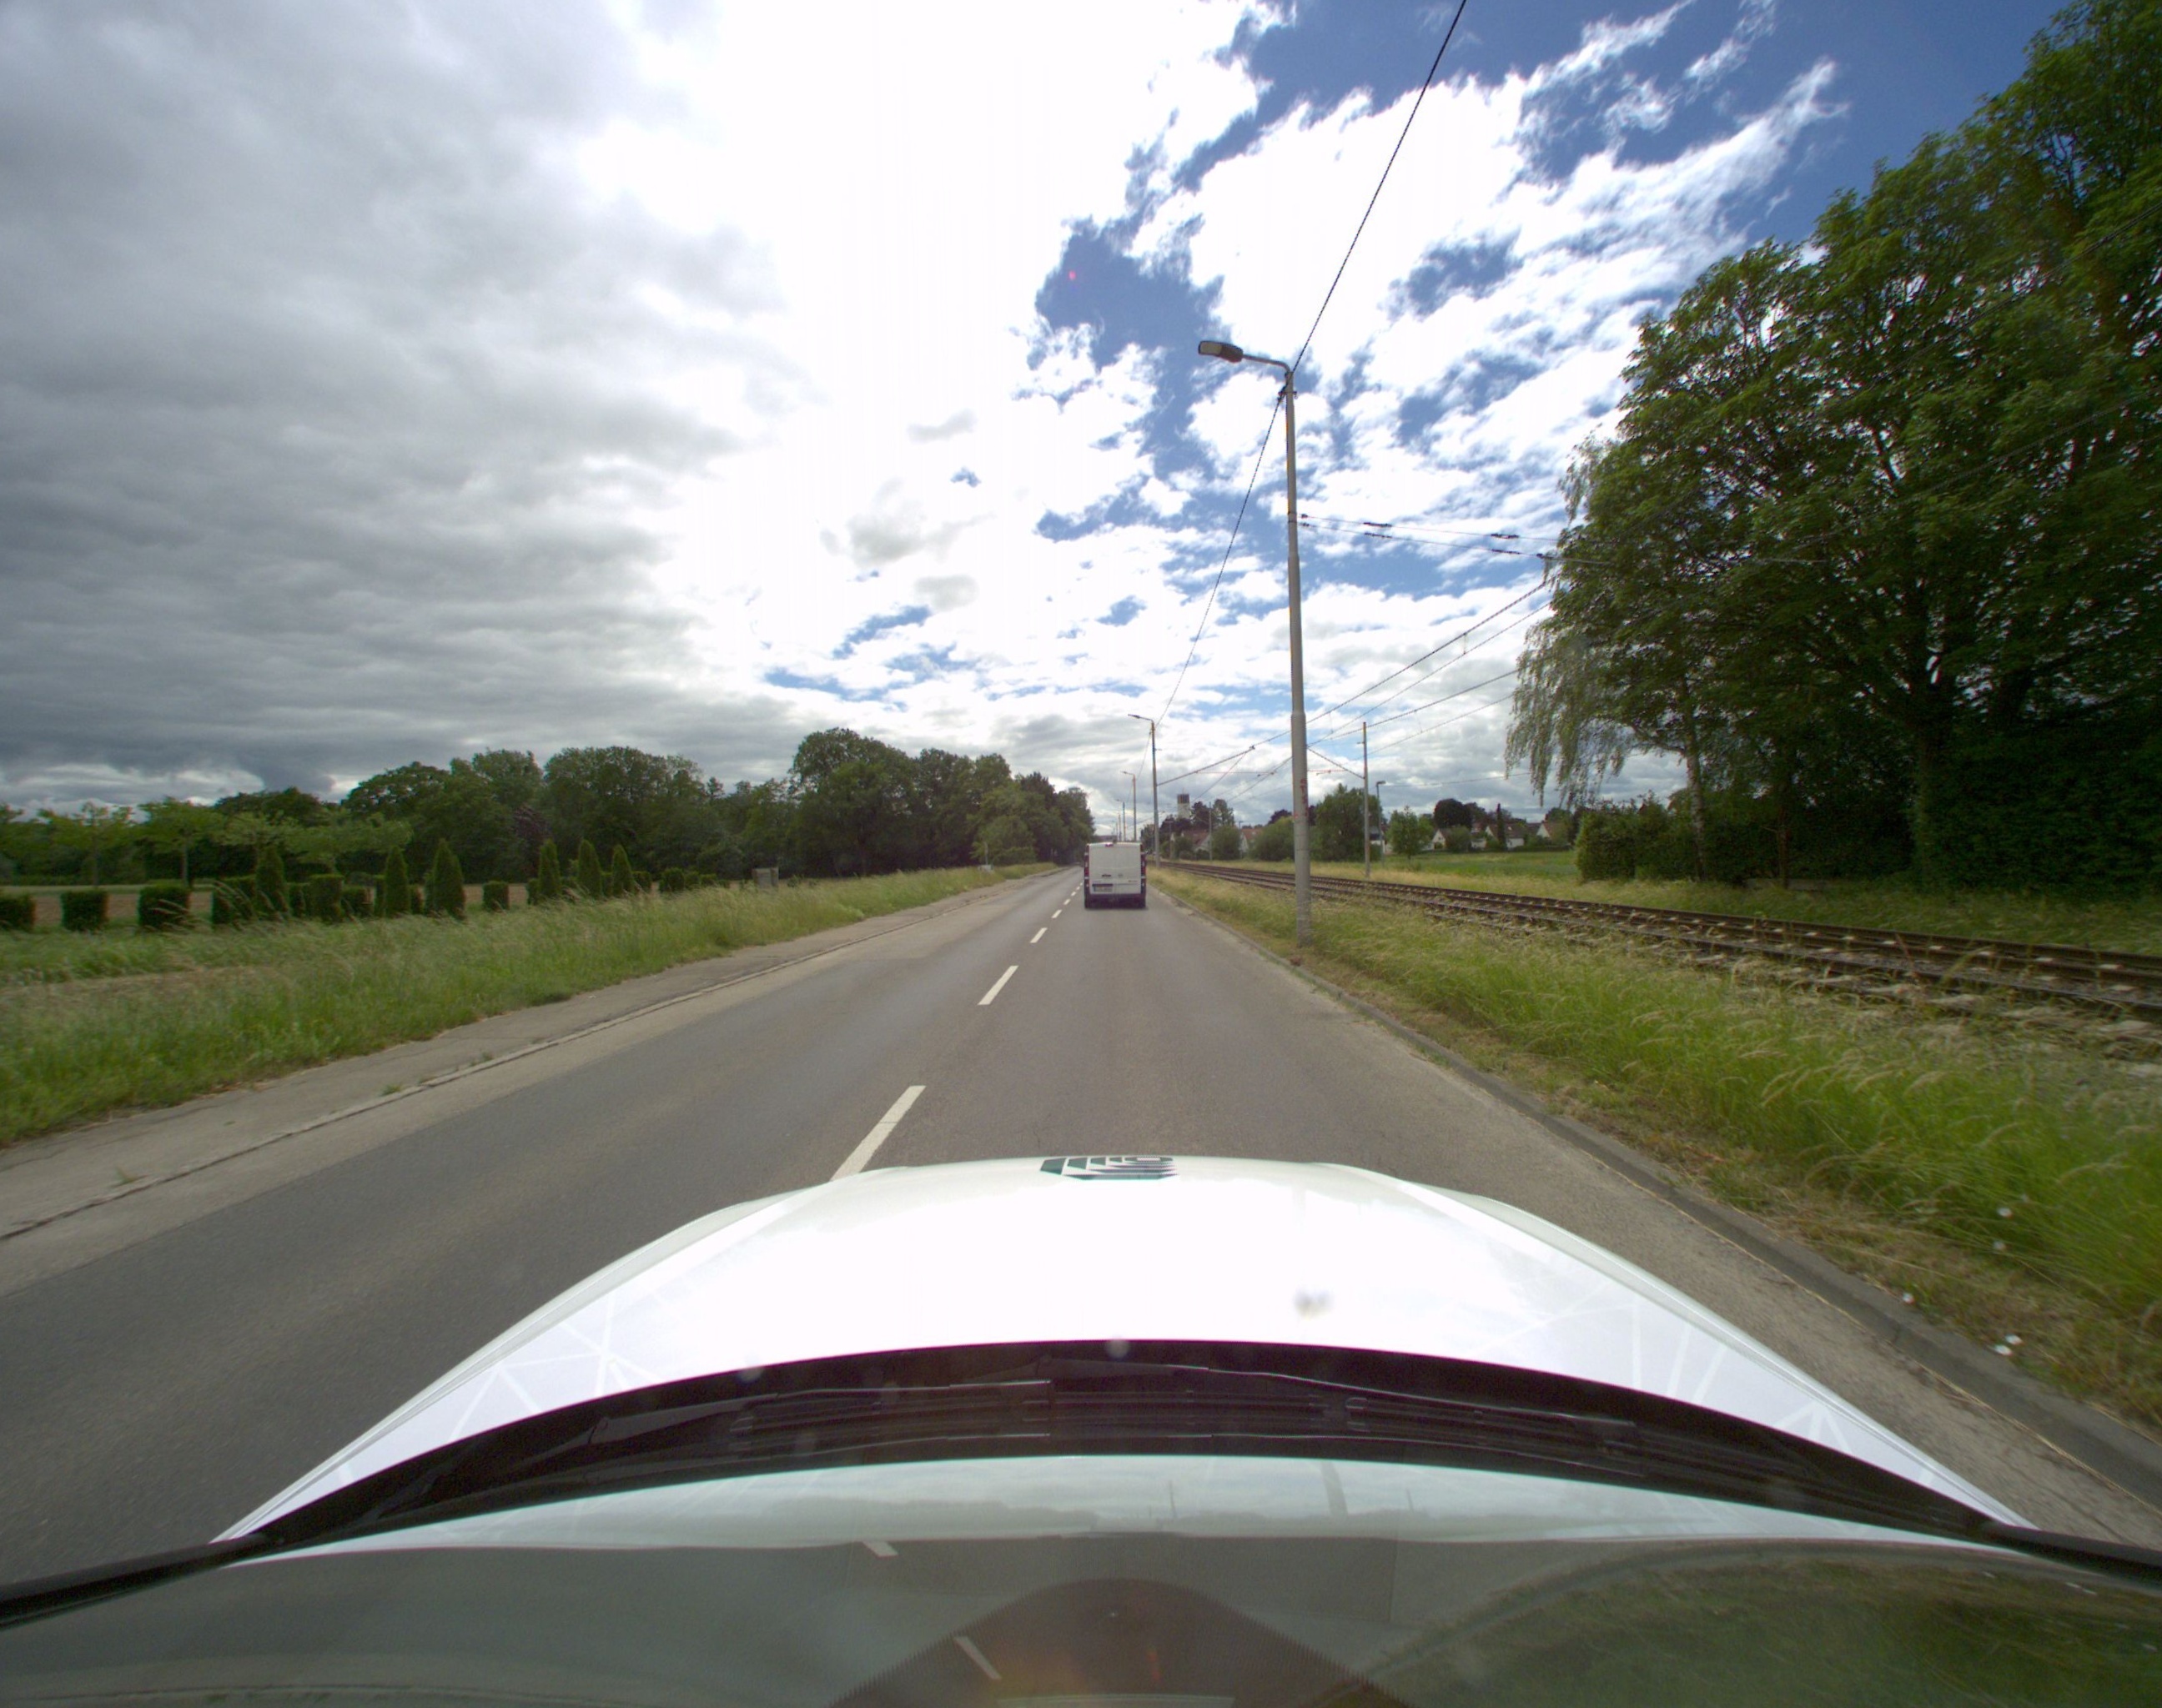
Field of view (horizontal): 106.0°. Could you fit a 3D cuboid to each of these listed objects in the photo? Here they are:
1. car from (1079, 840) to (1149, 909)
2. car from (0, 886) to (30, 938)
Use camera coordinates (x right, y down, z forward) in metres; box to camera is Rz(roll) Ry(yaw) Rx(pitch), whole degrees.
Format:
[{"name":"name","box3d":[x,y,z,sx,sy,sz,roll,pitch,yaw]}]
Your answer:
[{"name":"car","box3d":[0.975,0.606,25.589,1.987,1.957,4.000,-1,-1,0]},{"name":"car","box3d":[-32.735,1.719,22.579,4.020,1.453,1.952,-2,-1,-39]}]
